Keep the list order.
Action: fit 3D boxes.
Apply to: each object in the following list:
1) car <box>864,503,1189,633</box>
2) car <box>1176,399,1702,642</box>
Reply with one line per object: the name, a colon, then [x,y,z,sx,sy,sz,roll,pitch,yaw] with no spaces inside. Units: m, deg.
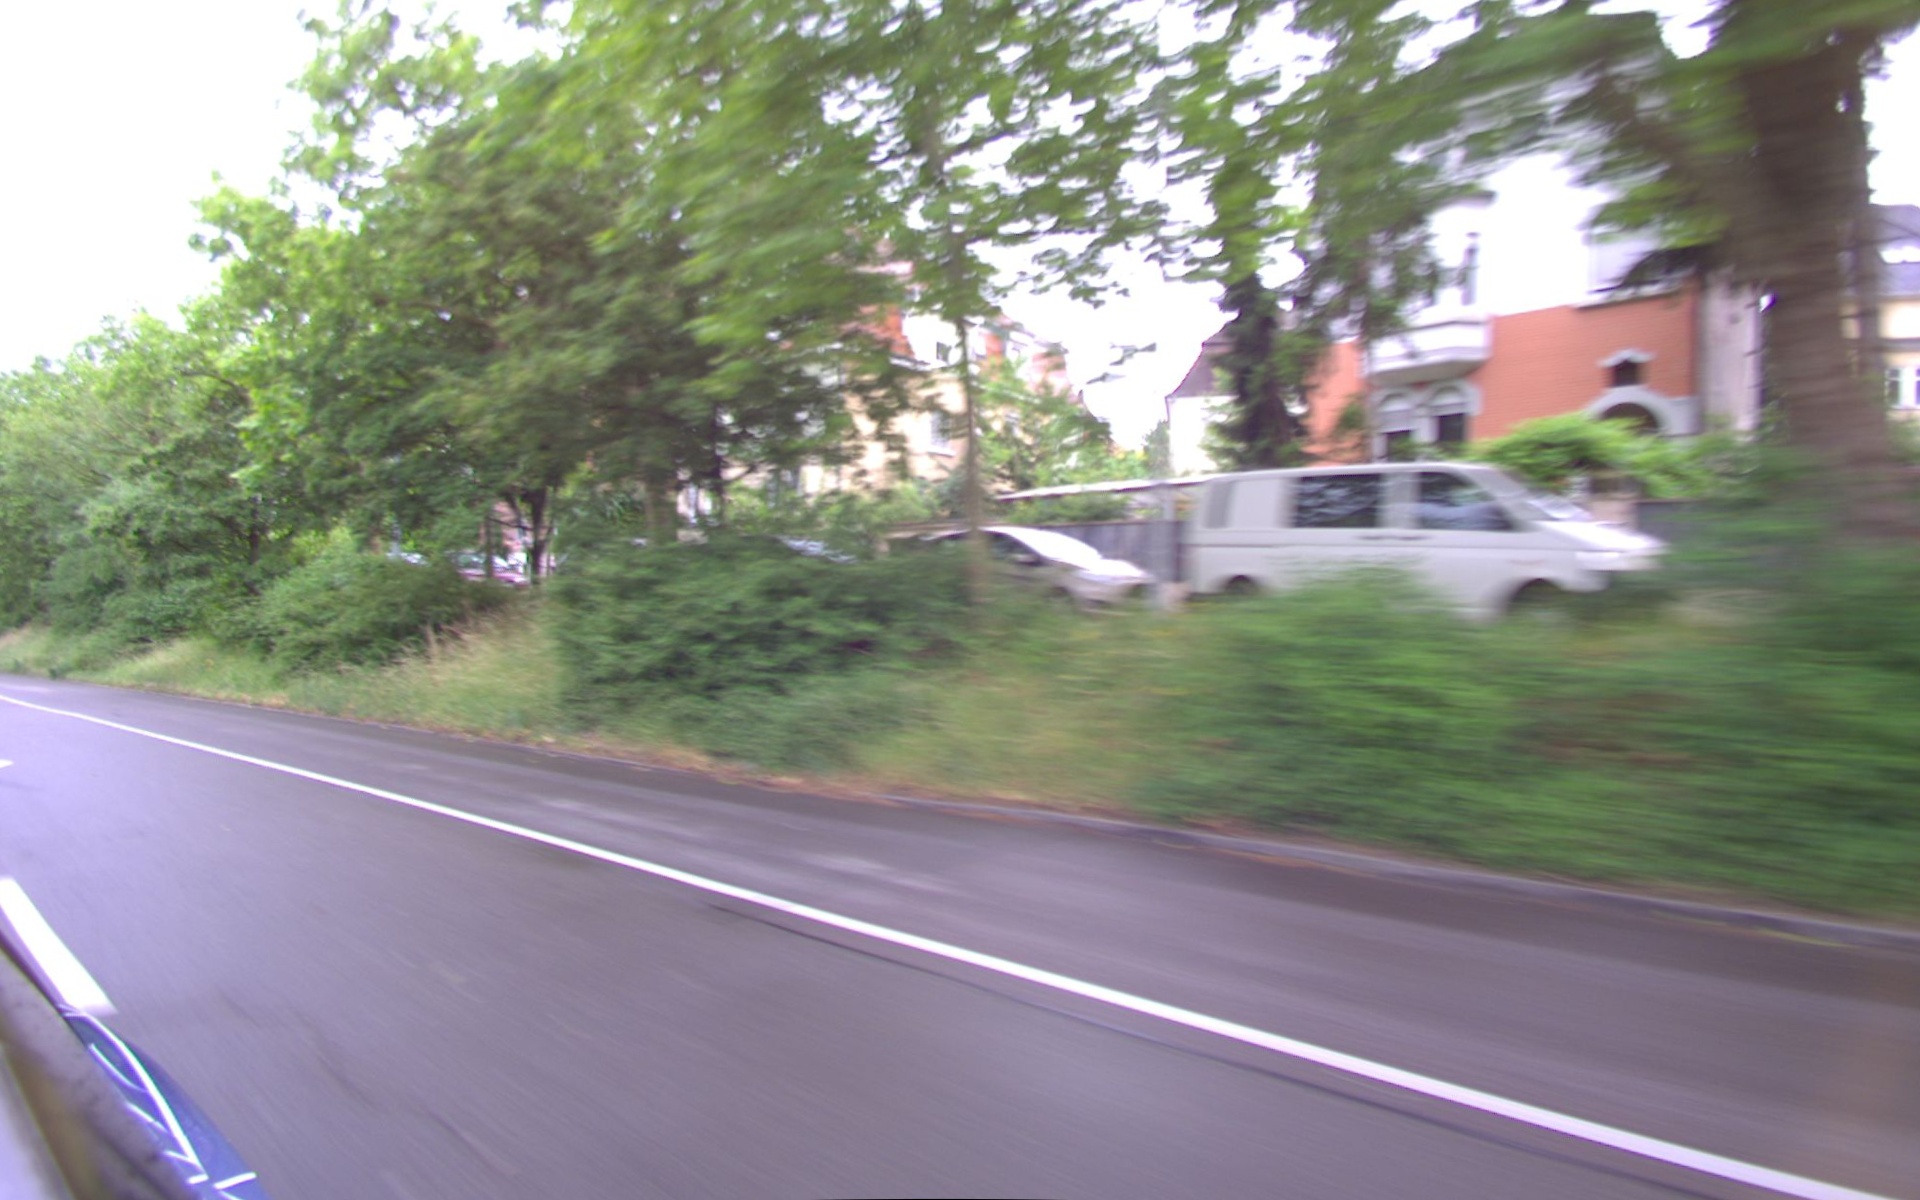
car: [0.821,-0.346,14.753,4.628,1.569,1.810,-2,-1,44]
car: [4.853,-0.604,10.749,4.628,2.029,1.971,-2,-1,44]
